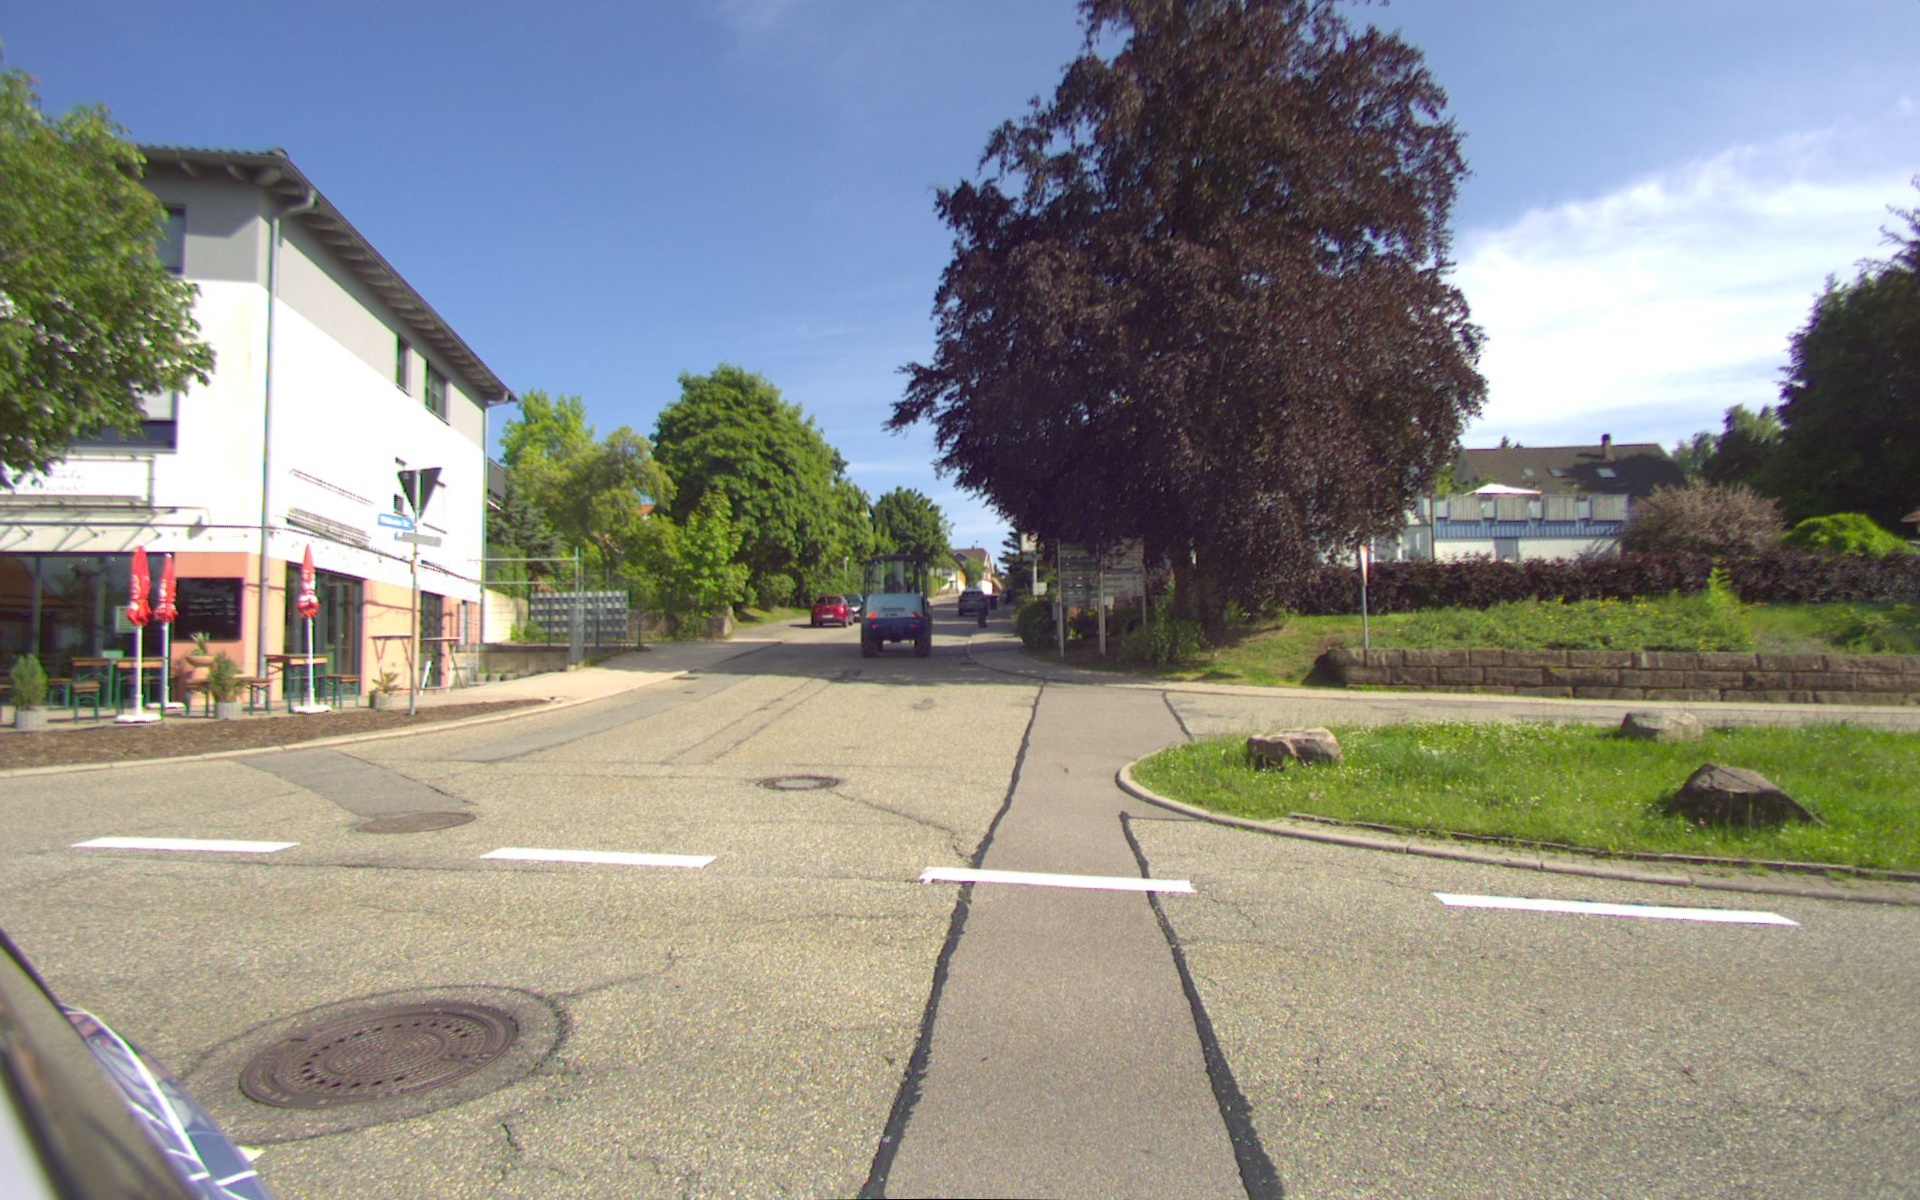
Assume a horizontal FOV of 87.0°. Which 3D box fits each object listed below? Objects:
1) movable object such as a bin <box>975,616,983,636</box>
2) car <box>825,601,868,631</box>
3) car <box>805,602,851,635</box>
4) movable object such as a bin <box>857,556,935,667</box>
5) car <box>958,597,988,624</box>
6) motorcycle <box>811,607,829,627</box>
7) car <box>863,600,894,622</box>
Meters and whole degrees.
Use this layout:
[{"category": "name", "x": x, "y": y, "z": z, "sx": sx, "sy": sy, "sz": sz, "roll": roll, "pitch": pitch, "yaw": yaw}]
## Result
[{"category": "movable object such as a bin", "x": 0.856, "y": 1.132, "z": 44.516, "sx": 0.346, "sy": 0.870, "sz": 0.395, "roll": 0, "pitch": -1, "yaw": 2}, {"category": "car", "x": -5.945, "y": 0.822, "z": 53.317, "sx": 1.752, "sy": 1.481, "sz": 3.808, "roll": 0, "pitch": 0, "yaw": 2}, {"category": "car", "x": -6.185, "y": 0.850, "z": 47.689, "sx": 1.602, "sy": 1.509, "sz": 3.808, "roll": 0, "pitch": 0, "yaw": 2}, {"category": "movable object such as a bin", "x": -1.768, "y": 0.280, "z": 28.052, "sx": 1.970, "sy": 2.790, "sz": 5.109, "roll": 0, "pitch": 0, "yaw": -3}, {"category": "car", "x": 0.844, "y": 0.659, "z": 63.619, "sx": 1.784, "sy": 1.613, "sz": 3.808, "roll": 0, "pitch": 0, "yaw": 2}, {"category": "motorcycle", "x": -8.679, "y": 1.030, "z": 62.778, "sx": 0.774, "sy": 1.191, "sz": 2.188, "roll": 0, "pitch": 0, "yaw": 0}, {"category": "car", "x": -5.759, "y": 0.754, "z": 71.844, "sx": 1.752, "sy": 1.481, "sz": 3.808, "roll": 0, "pitch": 0, "yaw": 2}]
